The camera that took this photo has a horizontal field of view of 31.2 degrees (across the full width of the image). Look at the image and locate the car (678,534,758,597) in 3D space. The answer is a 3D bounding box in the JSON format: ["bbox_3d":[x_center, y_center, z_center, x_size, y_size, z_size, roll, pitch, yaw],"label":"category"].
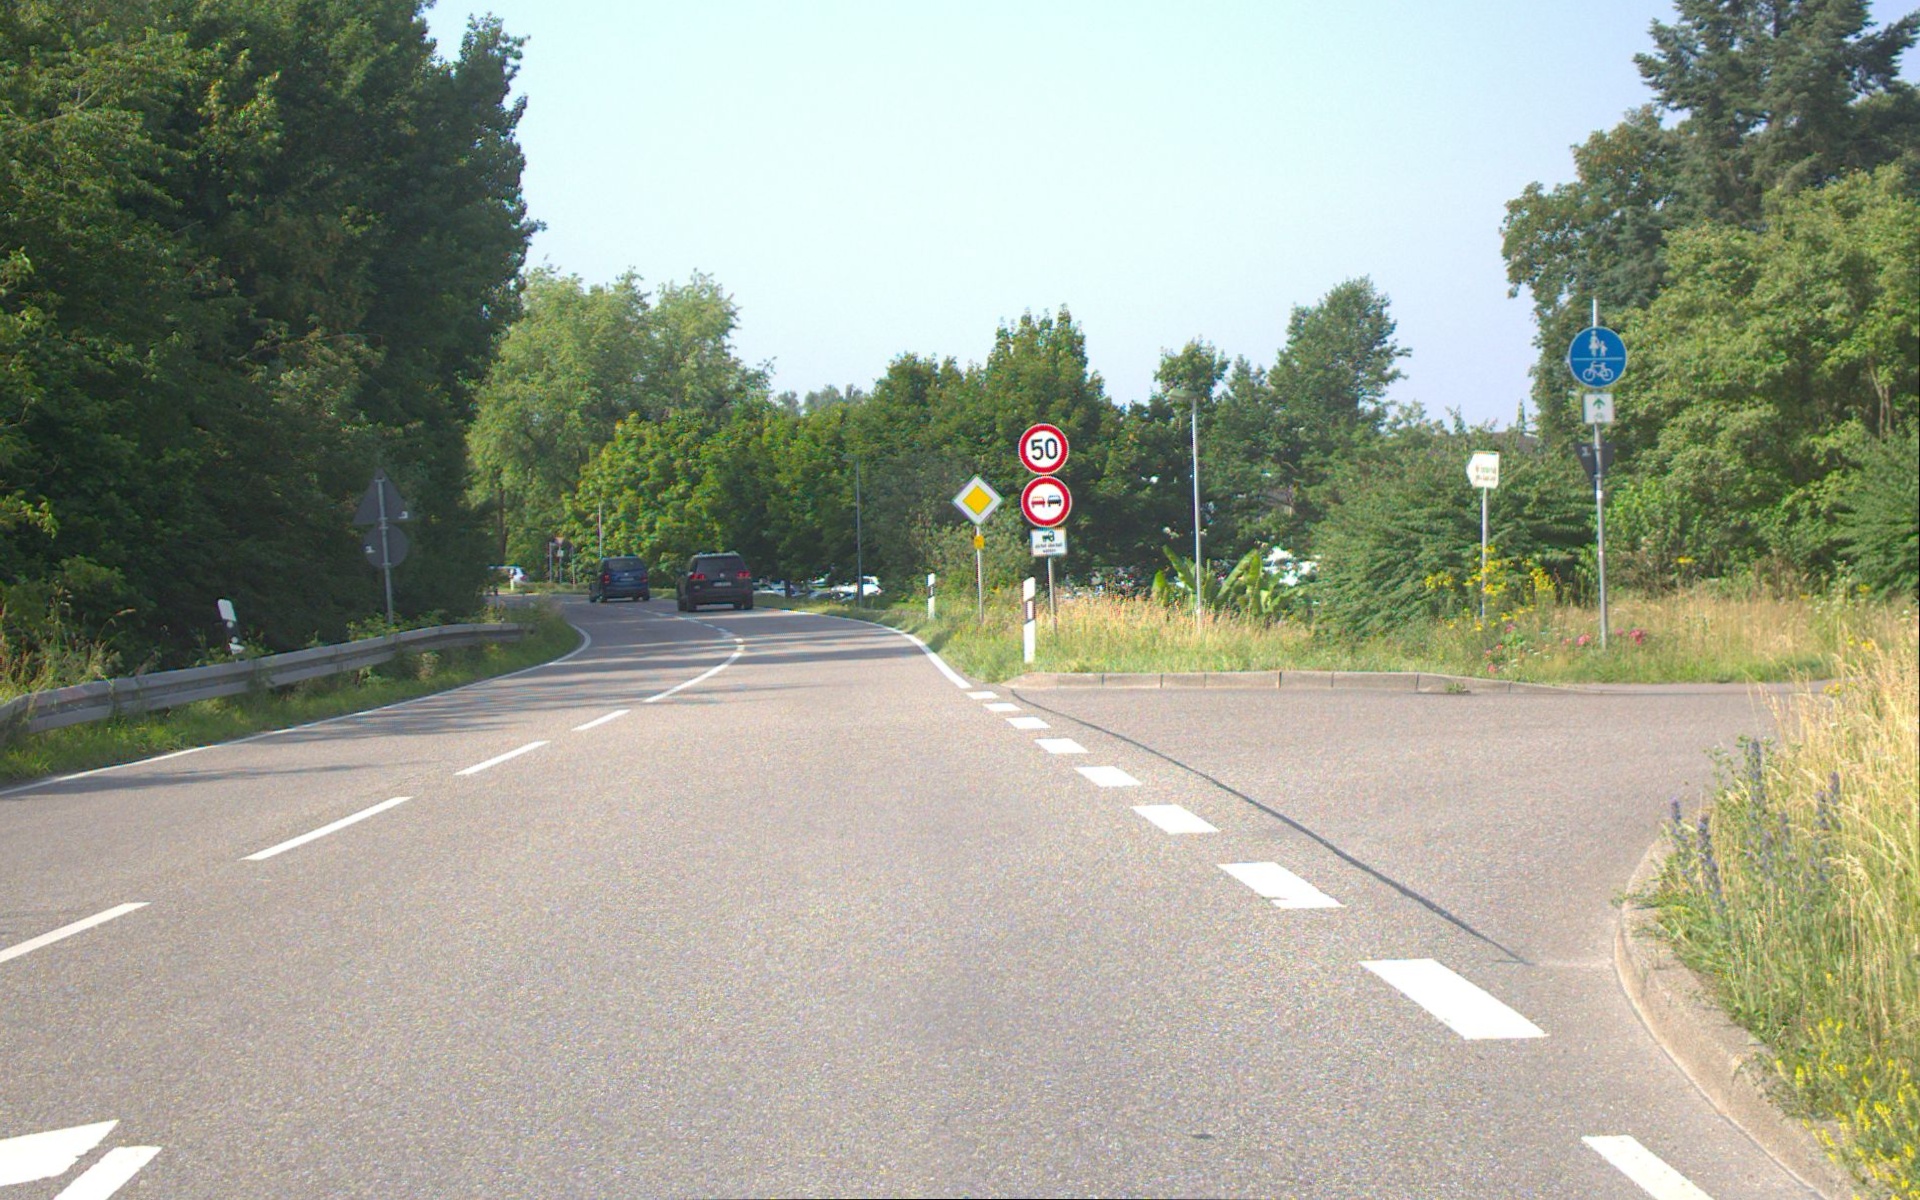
[{"bbox_3d":[-7.107,-1.027,100.683,1.925,1.765,4.001,-1,1,-9],"label":"car"}]

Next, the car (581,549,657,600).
[{"bbox_3d":[-12.292,-0.931,123.569,2.003,1.765,4.001,-1,1,-16],"label":"car"}]
